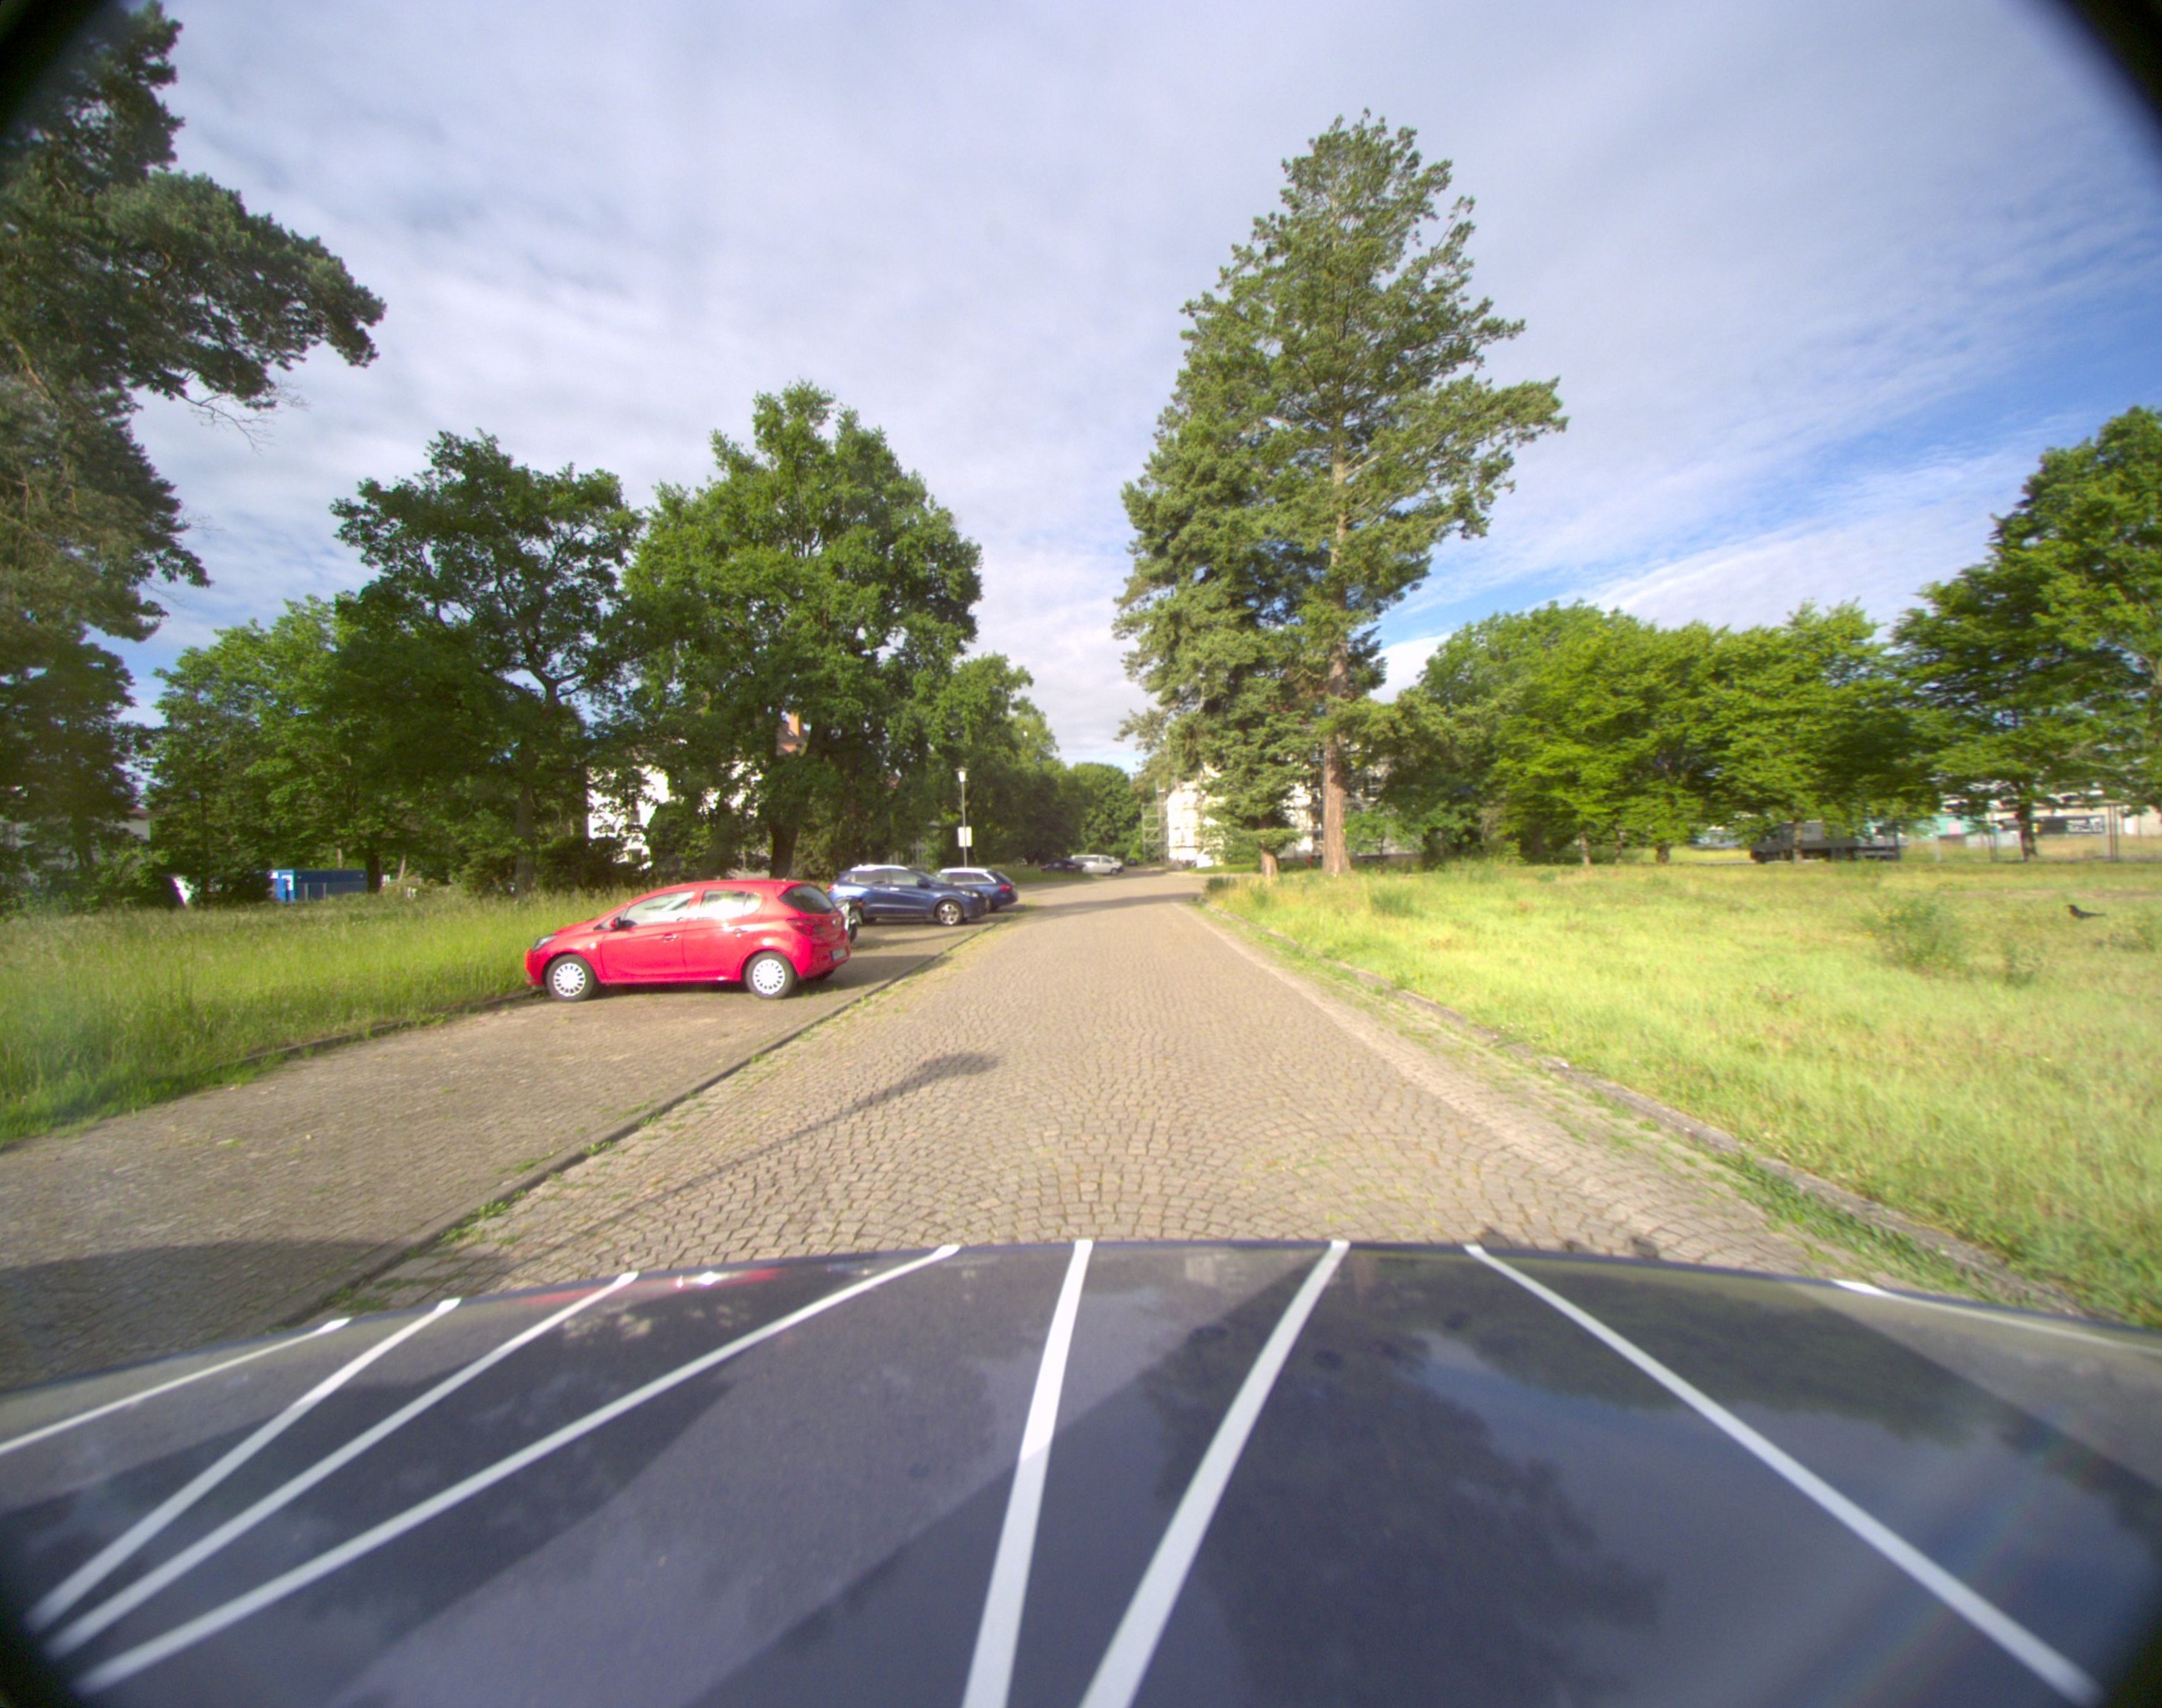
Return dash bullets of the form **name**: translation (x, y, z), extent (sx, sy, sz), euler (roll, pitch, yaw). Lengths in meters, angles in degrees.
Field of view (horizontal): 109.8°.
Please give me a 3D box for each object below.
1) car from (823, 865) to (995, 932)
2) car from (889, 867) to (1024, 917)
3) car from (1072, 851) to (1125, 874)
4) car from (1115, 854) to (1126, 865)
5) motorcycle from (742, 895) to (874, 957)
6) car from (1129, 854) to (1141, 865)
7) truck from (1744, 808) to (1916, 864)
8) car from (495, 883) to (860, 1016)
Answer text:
- **car**: translation (-4.509, 1.156, 20.319), extent (4.135, 1.560, 1.746), euler (-1, 1, 2)
- **car**: translation (-4.018, 1.241, 25.003), extent (4.034, 1.442, 1.783), euler (-1, 1, 4)
- **car**: translation (1.715, 0.852, 73.774), extent (5.078, 2.029, 2.000), euler (-2, 0, 2)
- **car**: translation (7.194, 1.057, 139.719), extent (1.874, 1.888, 4.000), euler (-2, 1, 2)
- **motorcycle**: translation (-5.235, 1.375, 14.611), extent (2.306, 1.107, 0.607), euler (-1, 1, 4)
- **car**: translation (9.929, 1.006, 139.832), extent (1.998, 1.762, 4.109), euler (-2, 1, 2)
- **truck**: translation (38.470, -0.837, 39.414), extent (2.417, 2.572, 6.961), euler (-2, 0, 5)
- **car**: translation (-5.140, 1.198, 10.049), extent (3.886, 1.464, 1.687), euler (-1, 1, 1)
